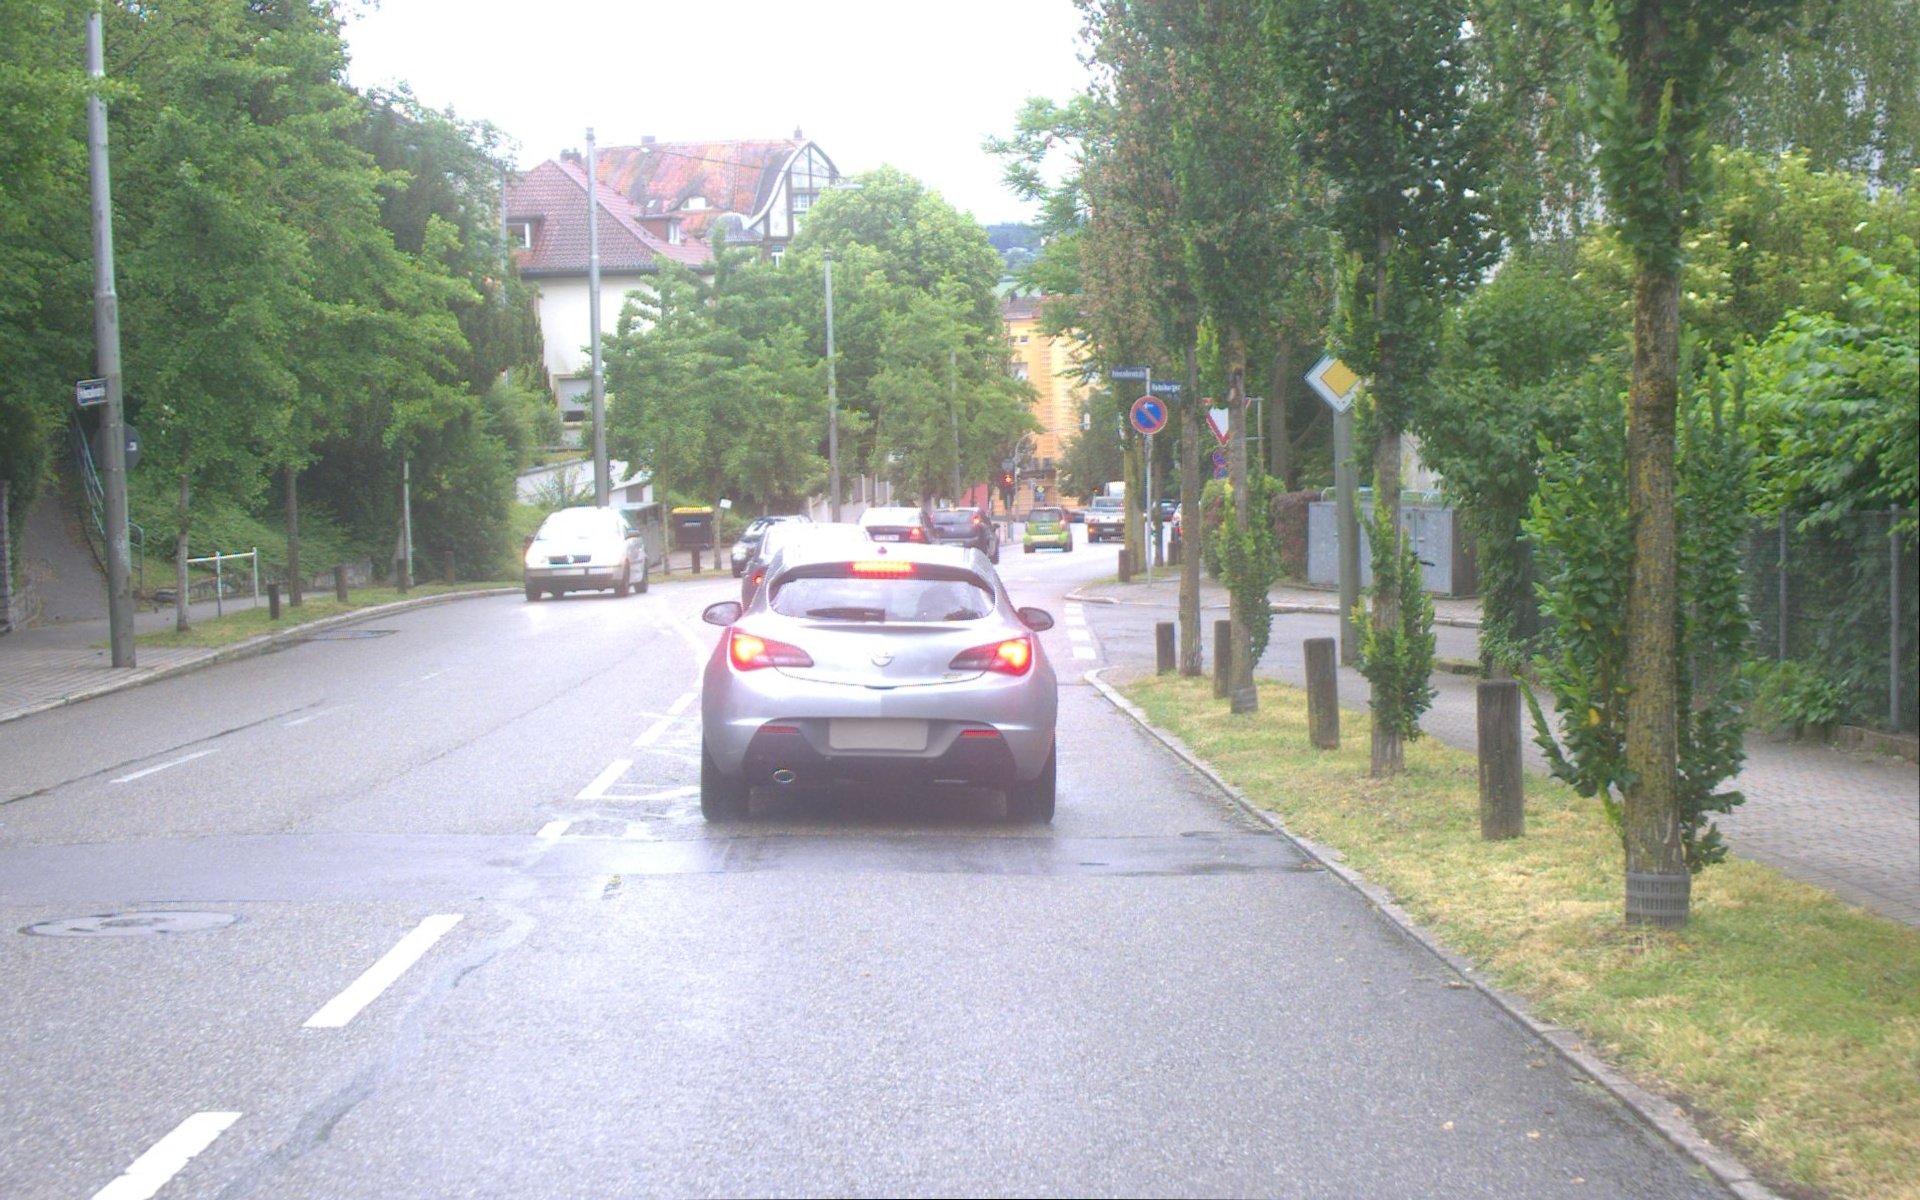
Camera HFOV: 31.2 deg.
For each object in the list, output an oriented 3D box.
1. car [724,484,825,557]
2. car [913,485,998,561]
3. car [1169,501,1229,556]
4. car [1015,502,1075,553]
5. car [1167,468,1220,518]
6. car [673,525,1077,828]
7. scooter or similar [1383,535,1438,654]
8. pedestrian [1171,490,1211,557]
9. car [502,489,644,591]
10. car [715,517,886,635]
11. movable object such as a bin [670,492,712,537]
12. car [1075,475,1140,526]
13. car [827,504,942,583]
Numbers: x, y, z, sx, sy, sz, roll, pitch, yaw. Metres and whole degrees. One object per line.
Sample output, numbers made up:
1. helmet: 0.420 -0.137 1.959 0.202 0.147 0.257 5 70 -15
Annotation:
1. car: -4.395 -1.910 81.934 1.911 1.579 4.587 -4 2 2
2. car: -0.091 -1.977 87.331 1.769 1.775 3.976 2 3 4
3. car: 6.541 -1.951 93.817 1.504 1.430 3.999 -2 1 5
4. car: 2.904 -2.477 116.992 1.754 1.645 4.000 2 2 4
5. car: 10.248 -4.703 150.687 1.994 2.029 4.734 2 3 6
6. car: -0.446 0.334 18.843 1.945 1.427 3.884 2 1 -1
7. scooter or similar: 4.843 -0.065 37.009 0.342 1.250 1.268 2 1 -2
8. pedestrian: 6.109 -2.017 91.034 0.734 1.717 0.765 -4 2 -19
9. car: -6.278 -1.004 56.115 1.765 1.481 3.801 -3 3 1
10. car: -1.872 -0.325 41.390 1.798 1.318 4.000 0 2 1
11. movable object such as a bin: -8.441 -2.685 107.944 1.272 1.382 0.489 0 2 4
12. car: 6.262 -4.234 145.395 2.334 2.029 4.734 2 3 7
13. car: -1.548 -1.200 71.600 1.961 1.467 3.951 2 3 4
